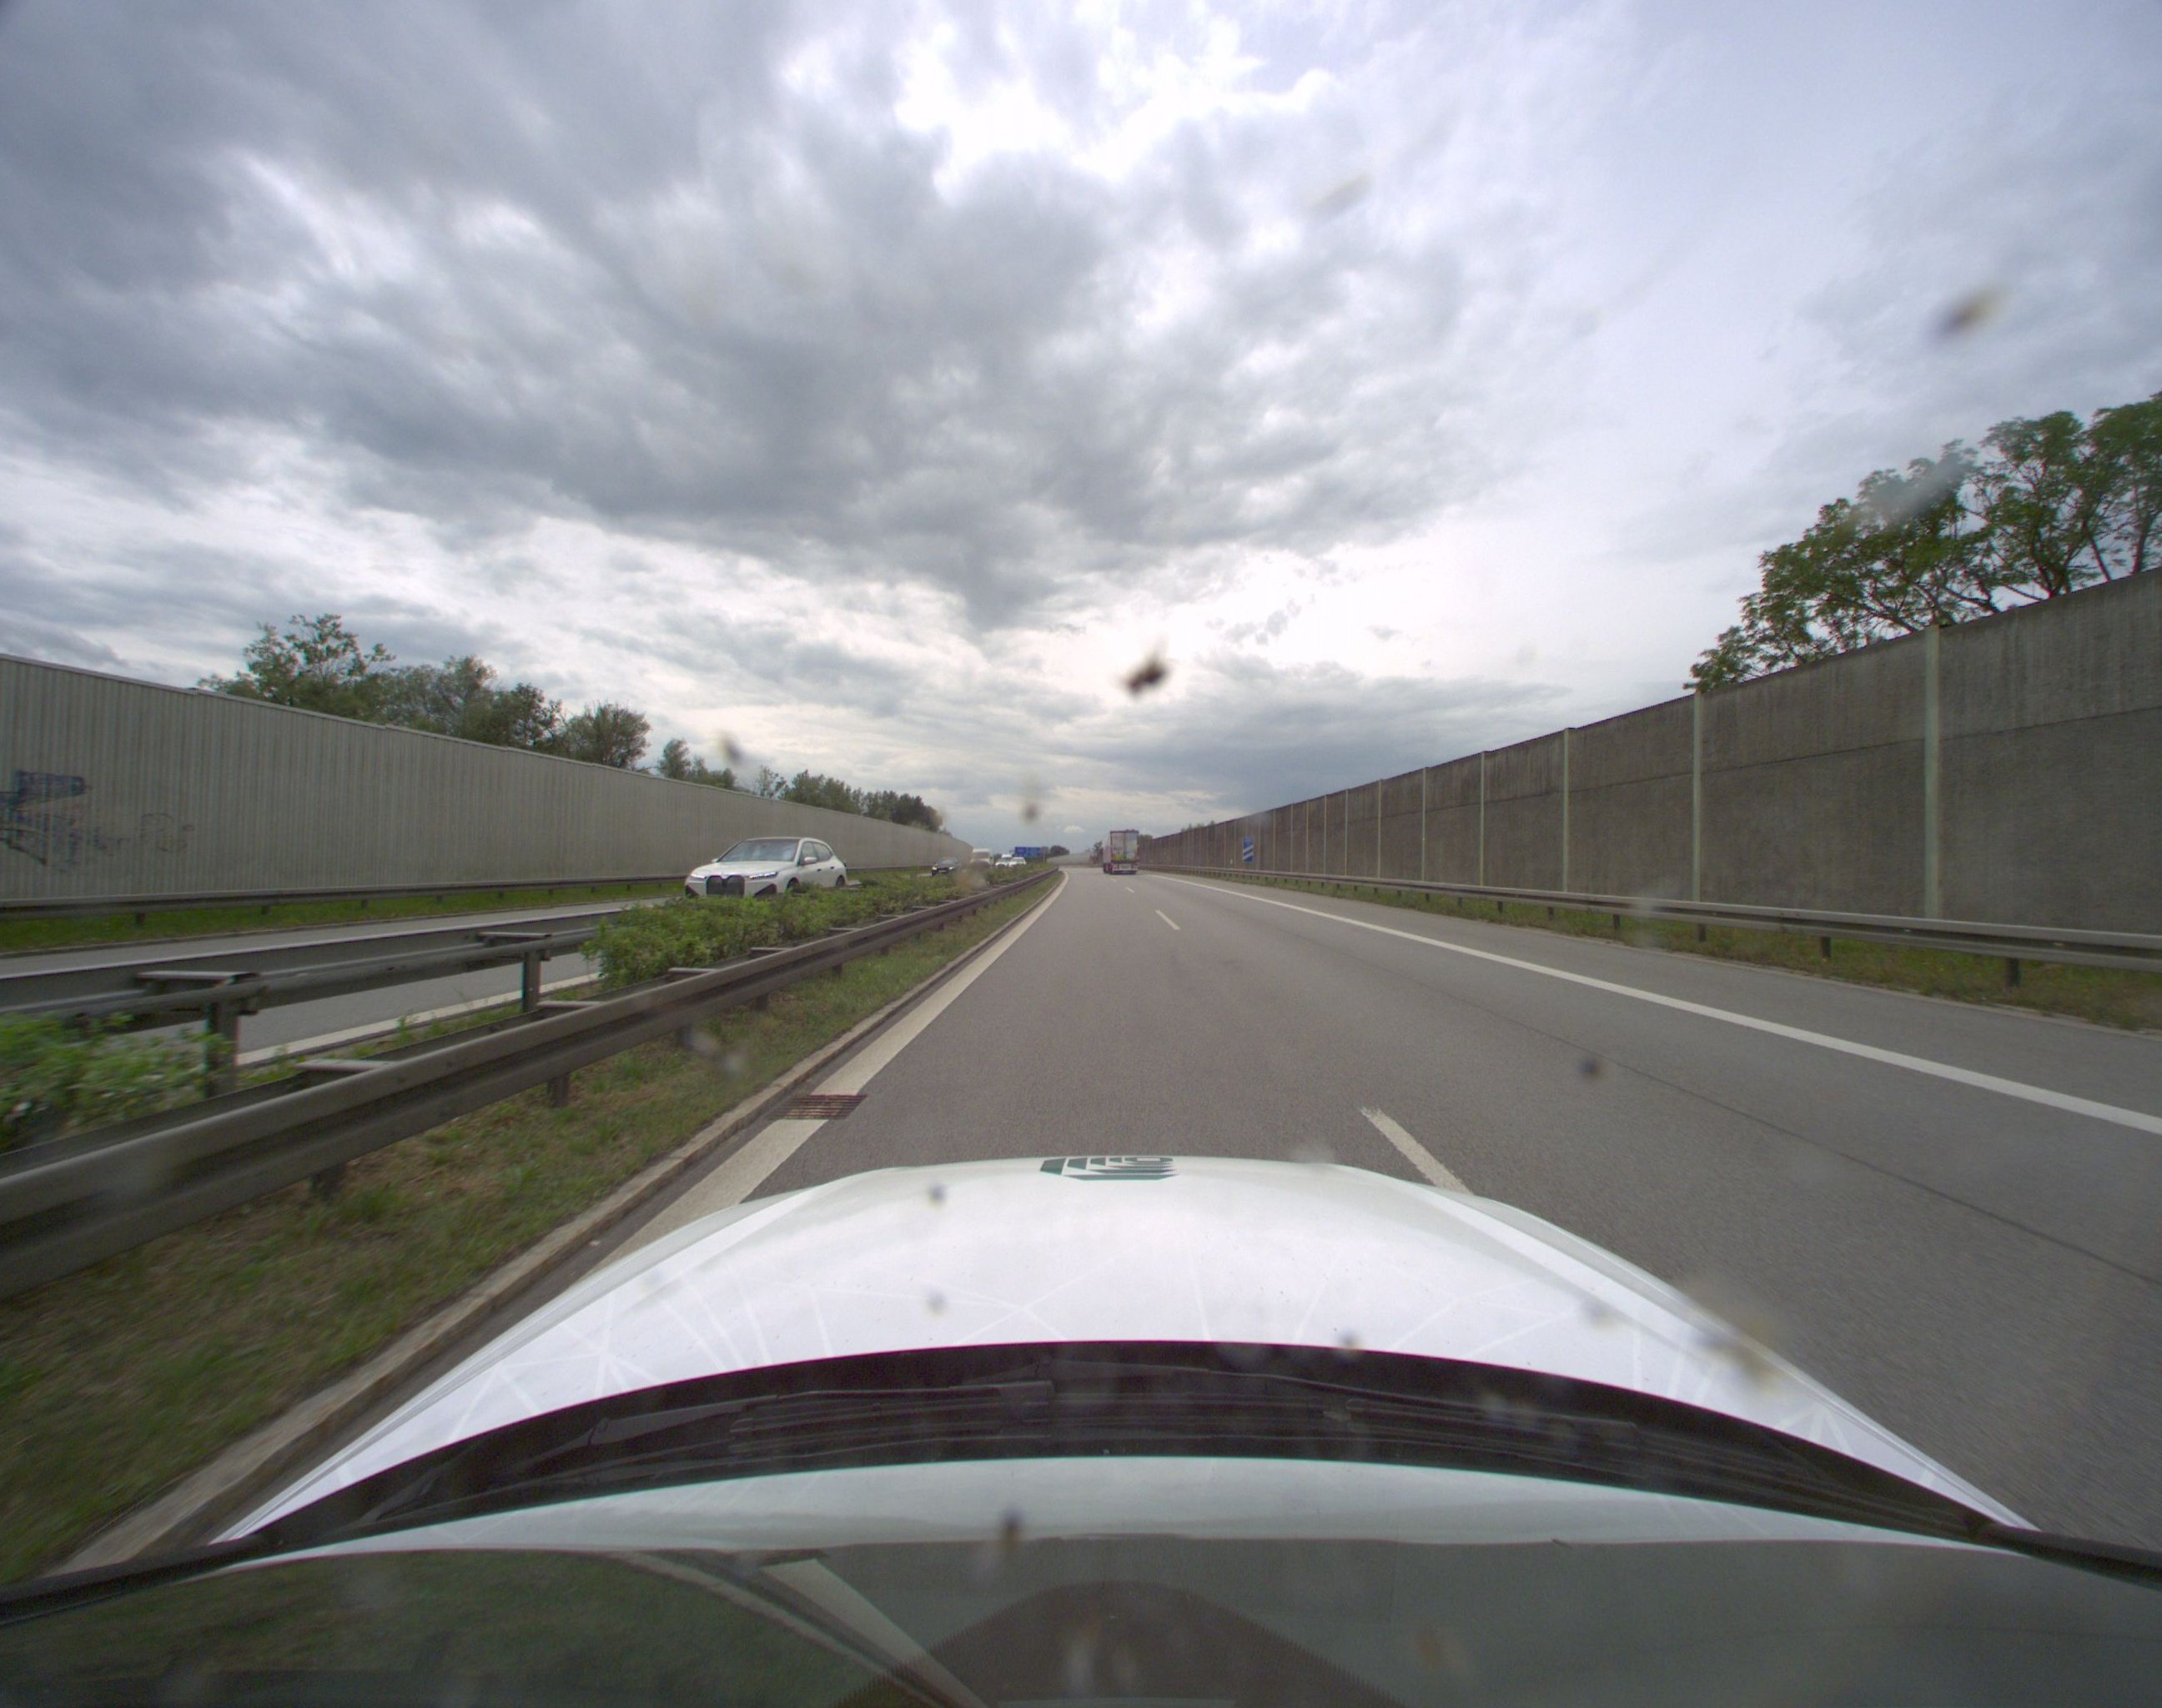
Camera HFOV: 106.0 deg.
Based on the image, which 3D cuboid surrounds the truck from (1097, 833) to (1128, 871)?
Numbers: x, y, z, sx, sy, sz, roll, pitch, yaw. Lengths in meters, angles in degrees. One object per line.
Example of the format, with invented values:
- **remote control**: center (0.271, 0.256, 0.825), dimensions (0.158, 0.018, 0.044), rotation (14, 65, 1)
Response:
- **truck**: center (3.364, -0.180, 87.487), dimensions (2.750, 3.960, 5.670), rotation (-1, -1, -3)

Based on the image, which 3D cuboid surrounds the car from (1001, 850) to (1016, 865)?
- **car**: center (-12.584, 0.656, 142.262), dimensions (2.105, 2.455, 5.680), rotation (-1, 0, -1)

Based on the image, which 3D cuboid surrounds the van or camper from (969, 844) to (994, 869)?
- **van or camper**: center (-10.537, 0.255, 86.954), dimensions (1.988, 2.441, 6.304), rotation (-2, 0, -2)

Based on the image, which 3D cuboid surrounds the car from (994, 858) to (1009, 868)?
- **car**: center (-11.781, 1.327, 121.227), dimensions (1.859, 1.403, 4.497), rotation (-1, 0, -1)

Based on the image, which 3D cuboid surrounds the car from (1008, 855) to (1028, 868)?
- **car**: center (-7.059, 0.832, 91.600), dimensions (1.799, 1.414, 4.968), rotation (0, 0, 0)

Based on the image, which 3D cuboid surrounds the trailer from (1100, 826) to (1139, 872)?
- **trailer**: center (3.669, -0.347, 80.792), dimensions (2.785, 4.175, 14.092), rotation (-1, -1, -2)

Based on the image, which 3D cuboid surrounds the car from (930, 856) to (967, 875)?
- **car**: center (-10.086, 0.836, 62.260), dimensions (1.987, 1.364, 4.968), rotation (0, 0, 0)

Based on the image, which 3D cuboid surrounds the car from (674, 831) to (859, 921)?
- **car**: center (-6.554, 0.421, 17.684), dimensions (1.956, 1.669, 4.926), rotation (0, 0, 2)

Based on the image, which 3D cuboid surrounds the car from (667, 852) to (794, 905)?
- **car**: center (-10.365, 0.678, 24.488), dimensions (1.716, 1.417, 4.555), rotation (-1, 0, 1)
